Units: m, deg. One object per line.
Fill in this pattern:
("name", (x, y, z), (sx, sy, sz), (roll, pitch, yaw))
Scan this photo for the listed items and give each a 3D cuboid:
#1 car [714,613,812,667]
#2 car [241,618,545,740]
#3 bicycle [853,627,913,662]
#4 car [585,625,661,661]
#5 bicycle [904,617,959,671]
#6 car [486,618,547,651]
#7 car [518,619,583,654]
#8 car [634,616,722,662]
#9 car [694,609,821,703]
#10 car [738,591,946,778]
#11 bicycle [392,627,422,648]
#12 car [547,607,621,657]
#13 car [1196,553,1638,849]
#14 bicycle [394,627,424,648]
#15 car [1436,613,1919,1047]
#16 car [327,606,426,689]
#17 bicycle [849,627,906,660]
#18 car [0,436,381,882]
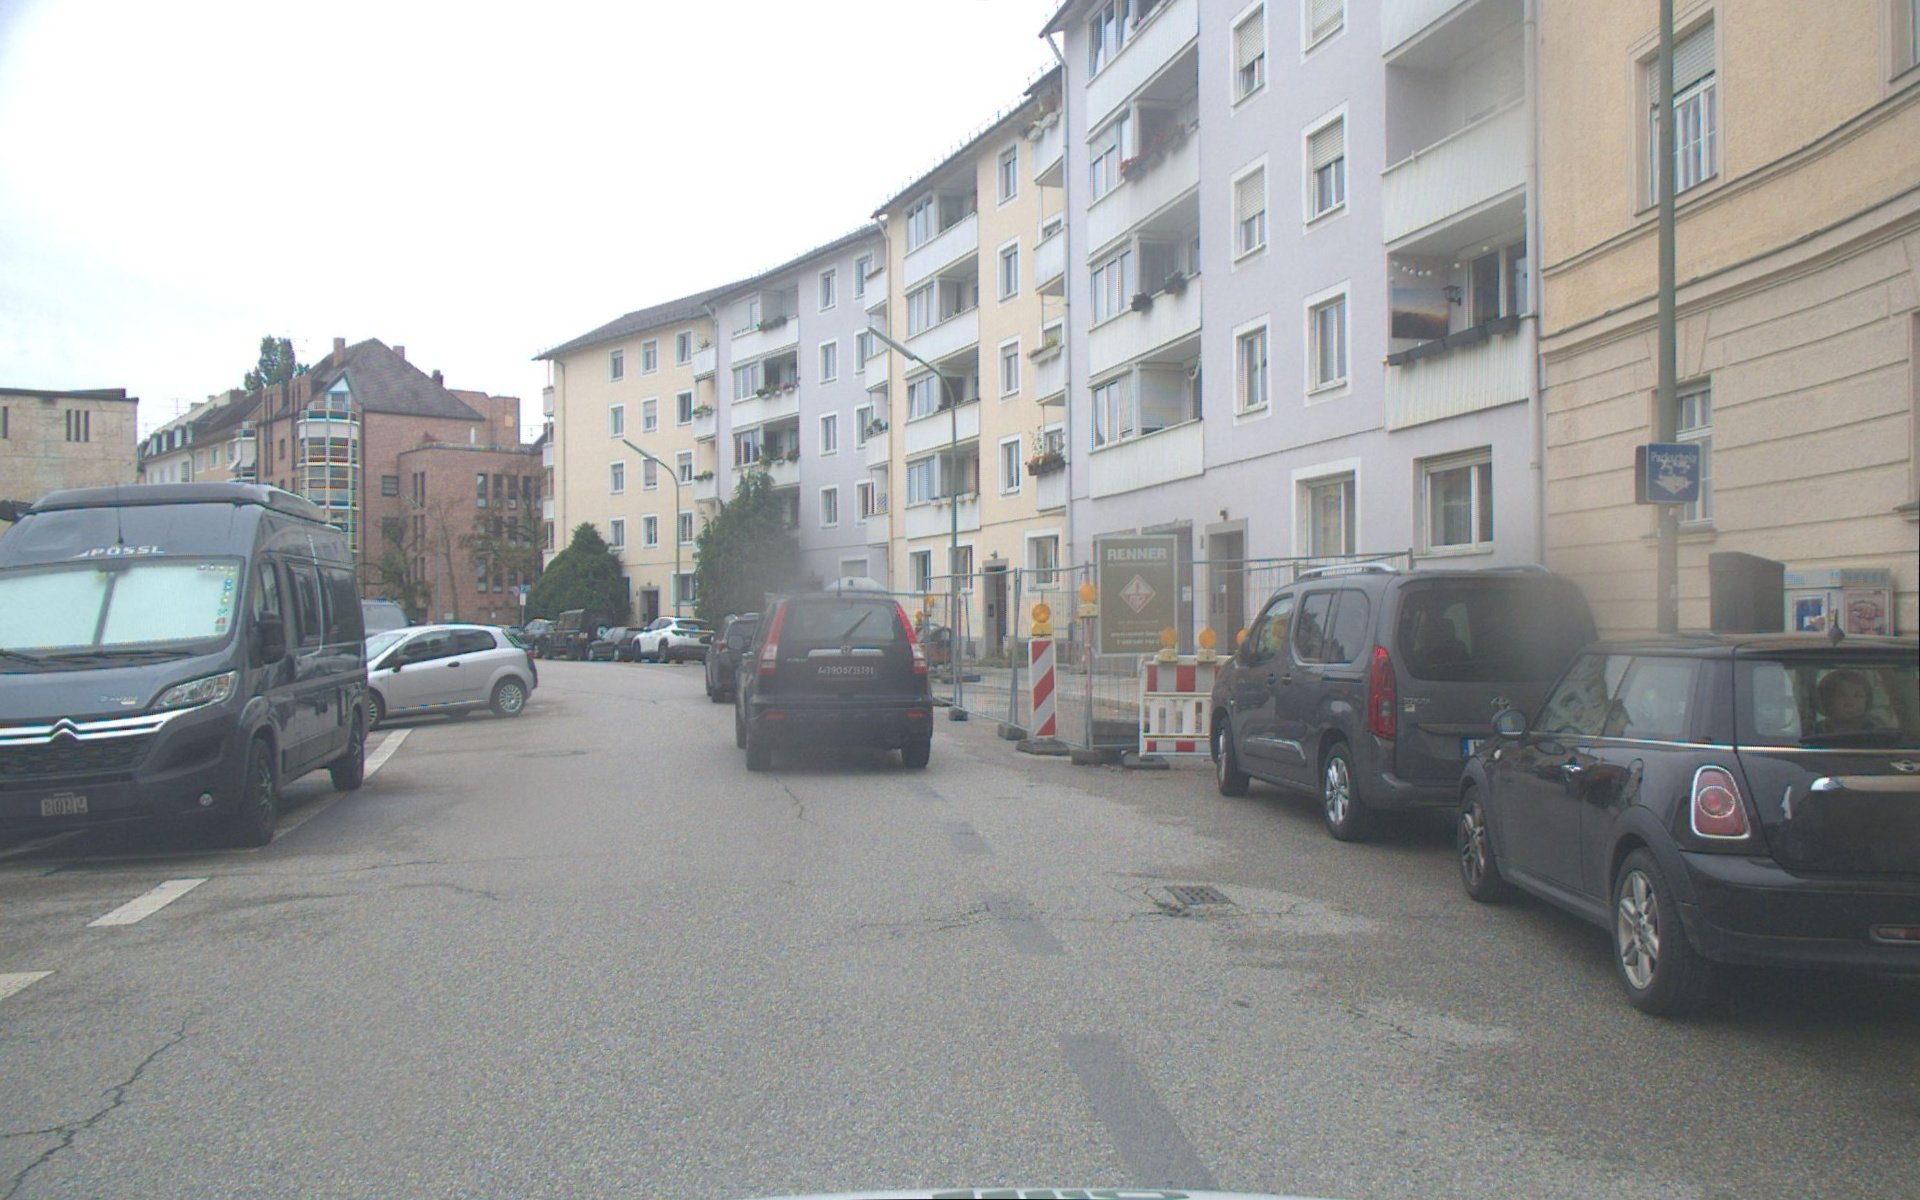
("car", (-5.918, 1.157, 49.294), (1.703, 1.509, 3.966), (1, 0, -26))
("car", (-8.591, 1.174, 25.318), (1.654, 1.507, 4.065), (-6, -1, 41))
("bicycle", (-2.504, 1.437, 53.716), (1.839, 1.110, 0.642), (0, -1, -21))
("car", (-12.726, 1.608, 62.409), (1.681, 1.258, 3.562), (1, 0, -32))
("bicycle", (-0.784, 1.160, 44.374), (0.952, 1.413, 2.554), (0, -1, -14))
("car", (-19.801, 1.536, 73.735), (1.681, 1.413, 3.562), (1, 0, -32))
("car", (-17.373, 1.532, 70.079), (1.681, 1.413, 3.562), (1, 0, -32))
("car", (-9.960, 1.348, 58.158), (1.707, 1.509, 3.956), (1, 0, -32))
("car", (-3.613, 0.934, 28.948), (1.651, 1.507, 4.069), (0, -1, -15))
("car", (-1.320, 0.776, 16.928), (1.855, 1.676, 3.983), (0, -1, -8))
("bicycle", (-34.668, 2.356, 103.724), (1.735, 1.311, 0.547), (0, -1, -30))
("car", (-15.079, 1.261, 66.276), (1.707, 1.911, 3.956), (1, -1, -32))
("car", (3.192, 0.660, 12.524), (1.744, 1.838, 4.269), (1, -1, -7))
("bicycle", (-34.357, 2.323, 103.140), (1.735, 1.311, 0.547), (0, -1, -30))
("car", (3.496, 0.816, 7.581), (1.672, 1.473, 3.831), (1, -1, 3))
("car", (-12.995, 1.011, 36.695), (1.658, 1.737, 4.477), (0, -1, -25))
("bicycle", (-2.773, 1.458, 55.748), (1.839, 1.110, 0.642), (0, -1, -21))
("car", (-6.112, 0.366, 13.014), (2.126, 2.688, 5.998), (-2, 0, -12))
